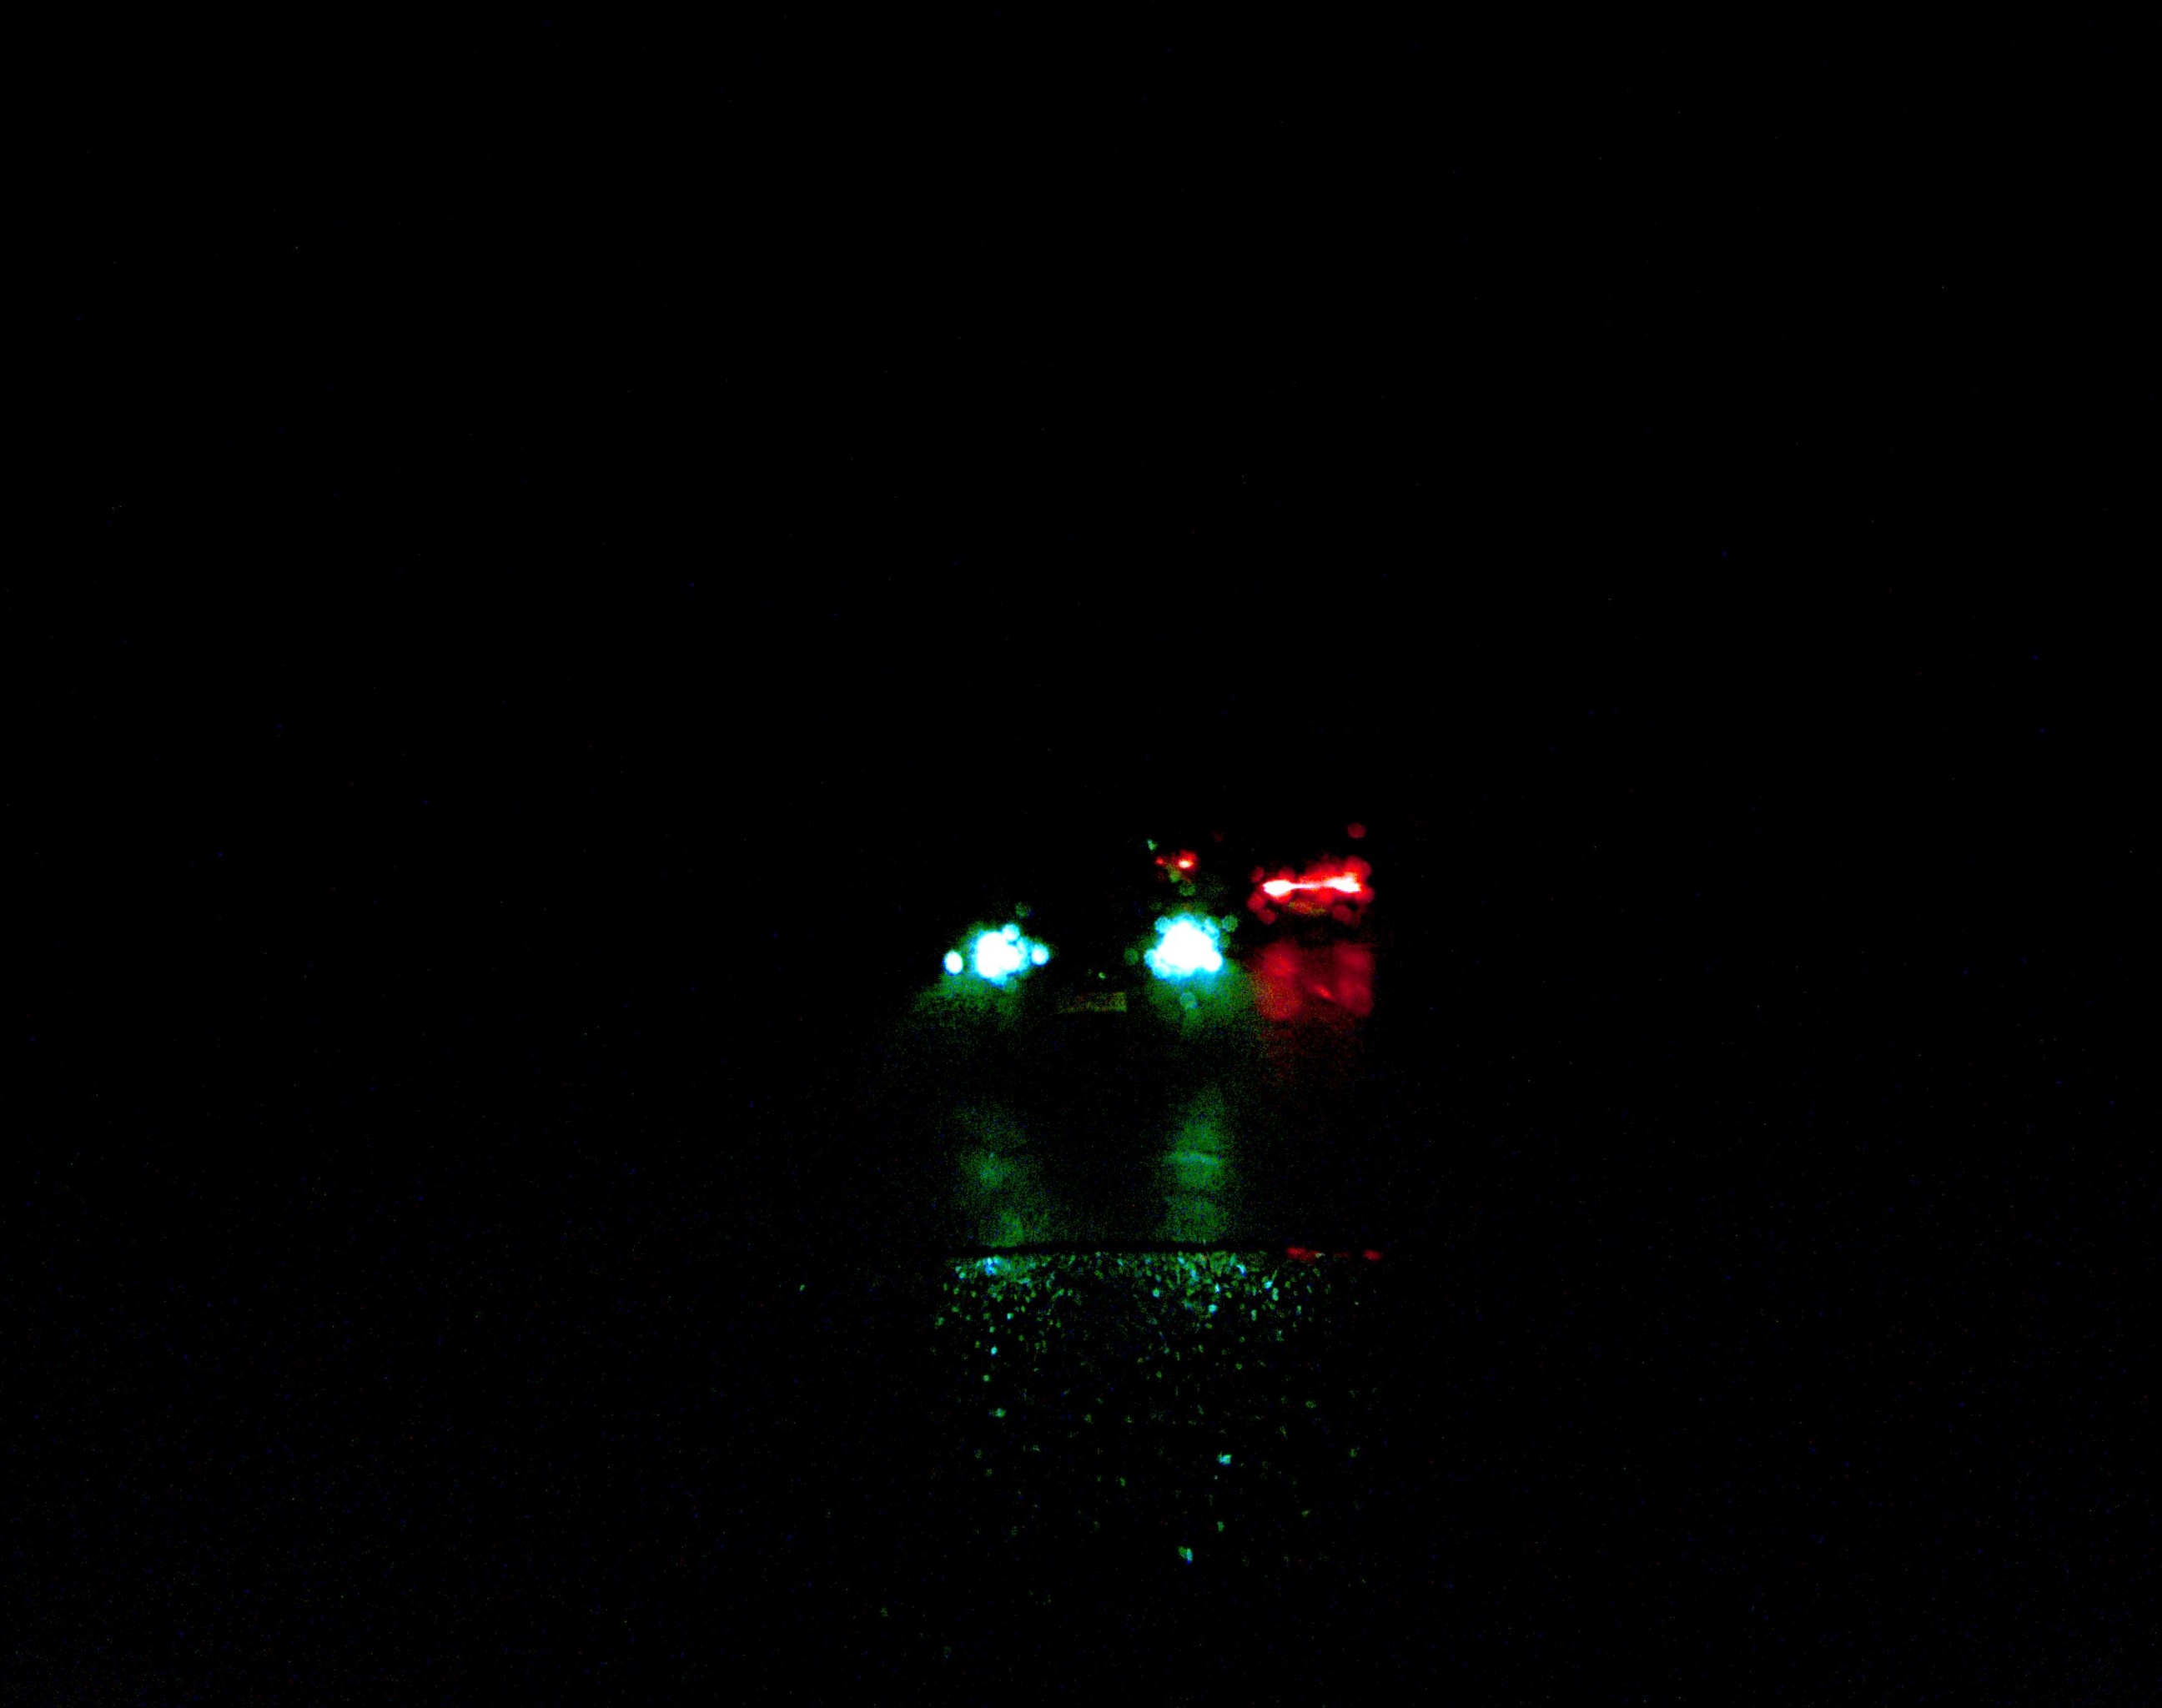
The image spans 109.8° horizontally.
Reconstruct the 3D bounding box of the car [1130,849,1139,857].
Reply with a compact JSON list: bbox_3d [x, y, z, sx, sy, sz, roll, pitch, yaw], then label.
[{"bbox_3d":[11.808,-0.275,166.428,1.845,1.565,4.000,-2,1,3],"label":"car"}]

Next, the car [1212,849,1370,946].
[{"bbox_3d":[3.838,0.718,14.704,1.842,1.537,4.257,-2,0,0],"label":"car"}]

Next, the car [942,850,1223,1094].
[{"bbox_3d":[0.109,0.796,7.136,1.845,1.565,4.000,-2,1,3],"label":"car"}]

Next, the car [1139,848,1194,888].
[{"bbox_3d":[3.734,0.582,33.890,1.957,1.646,4.123,-1,0,-1],"label":"car"}]
